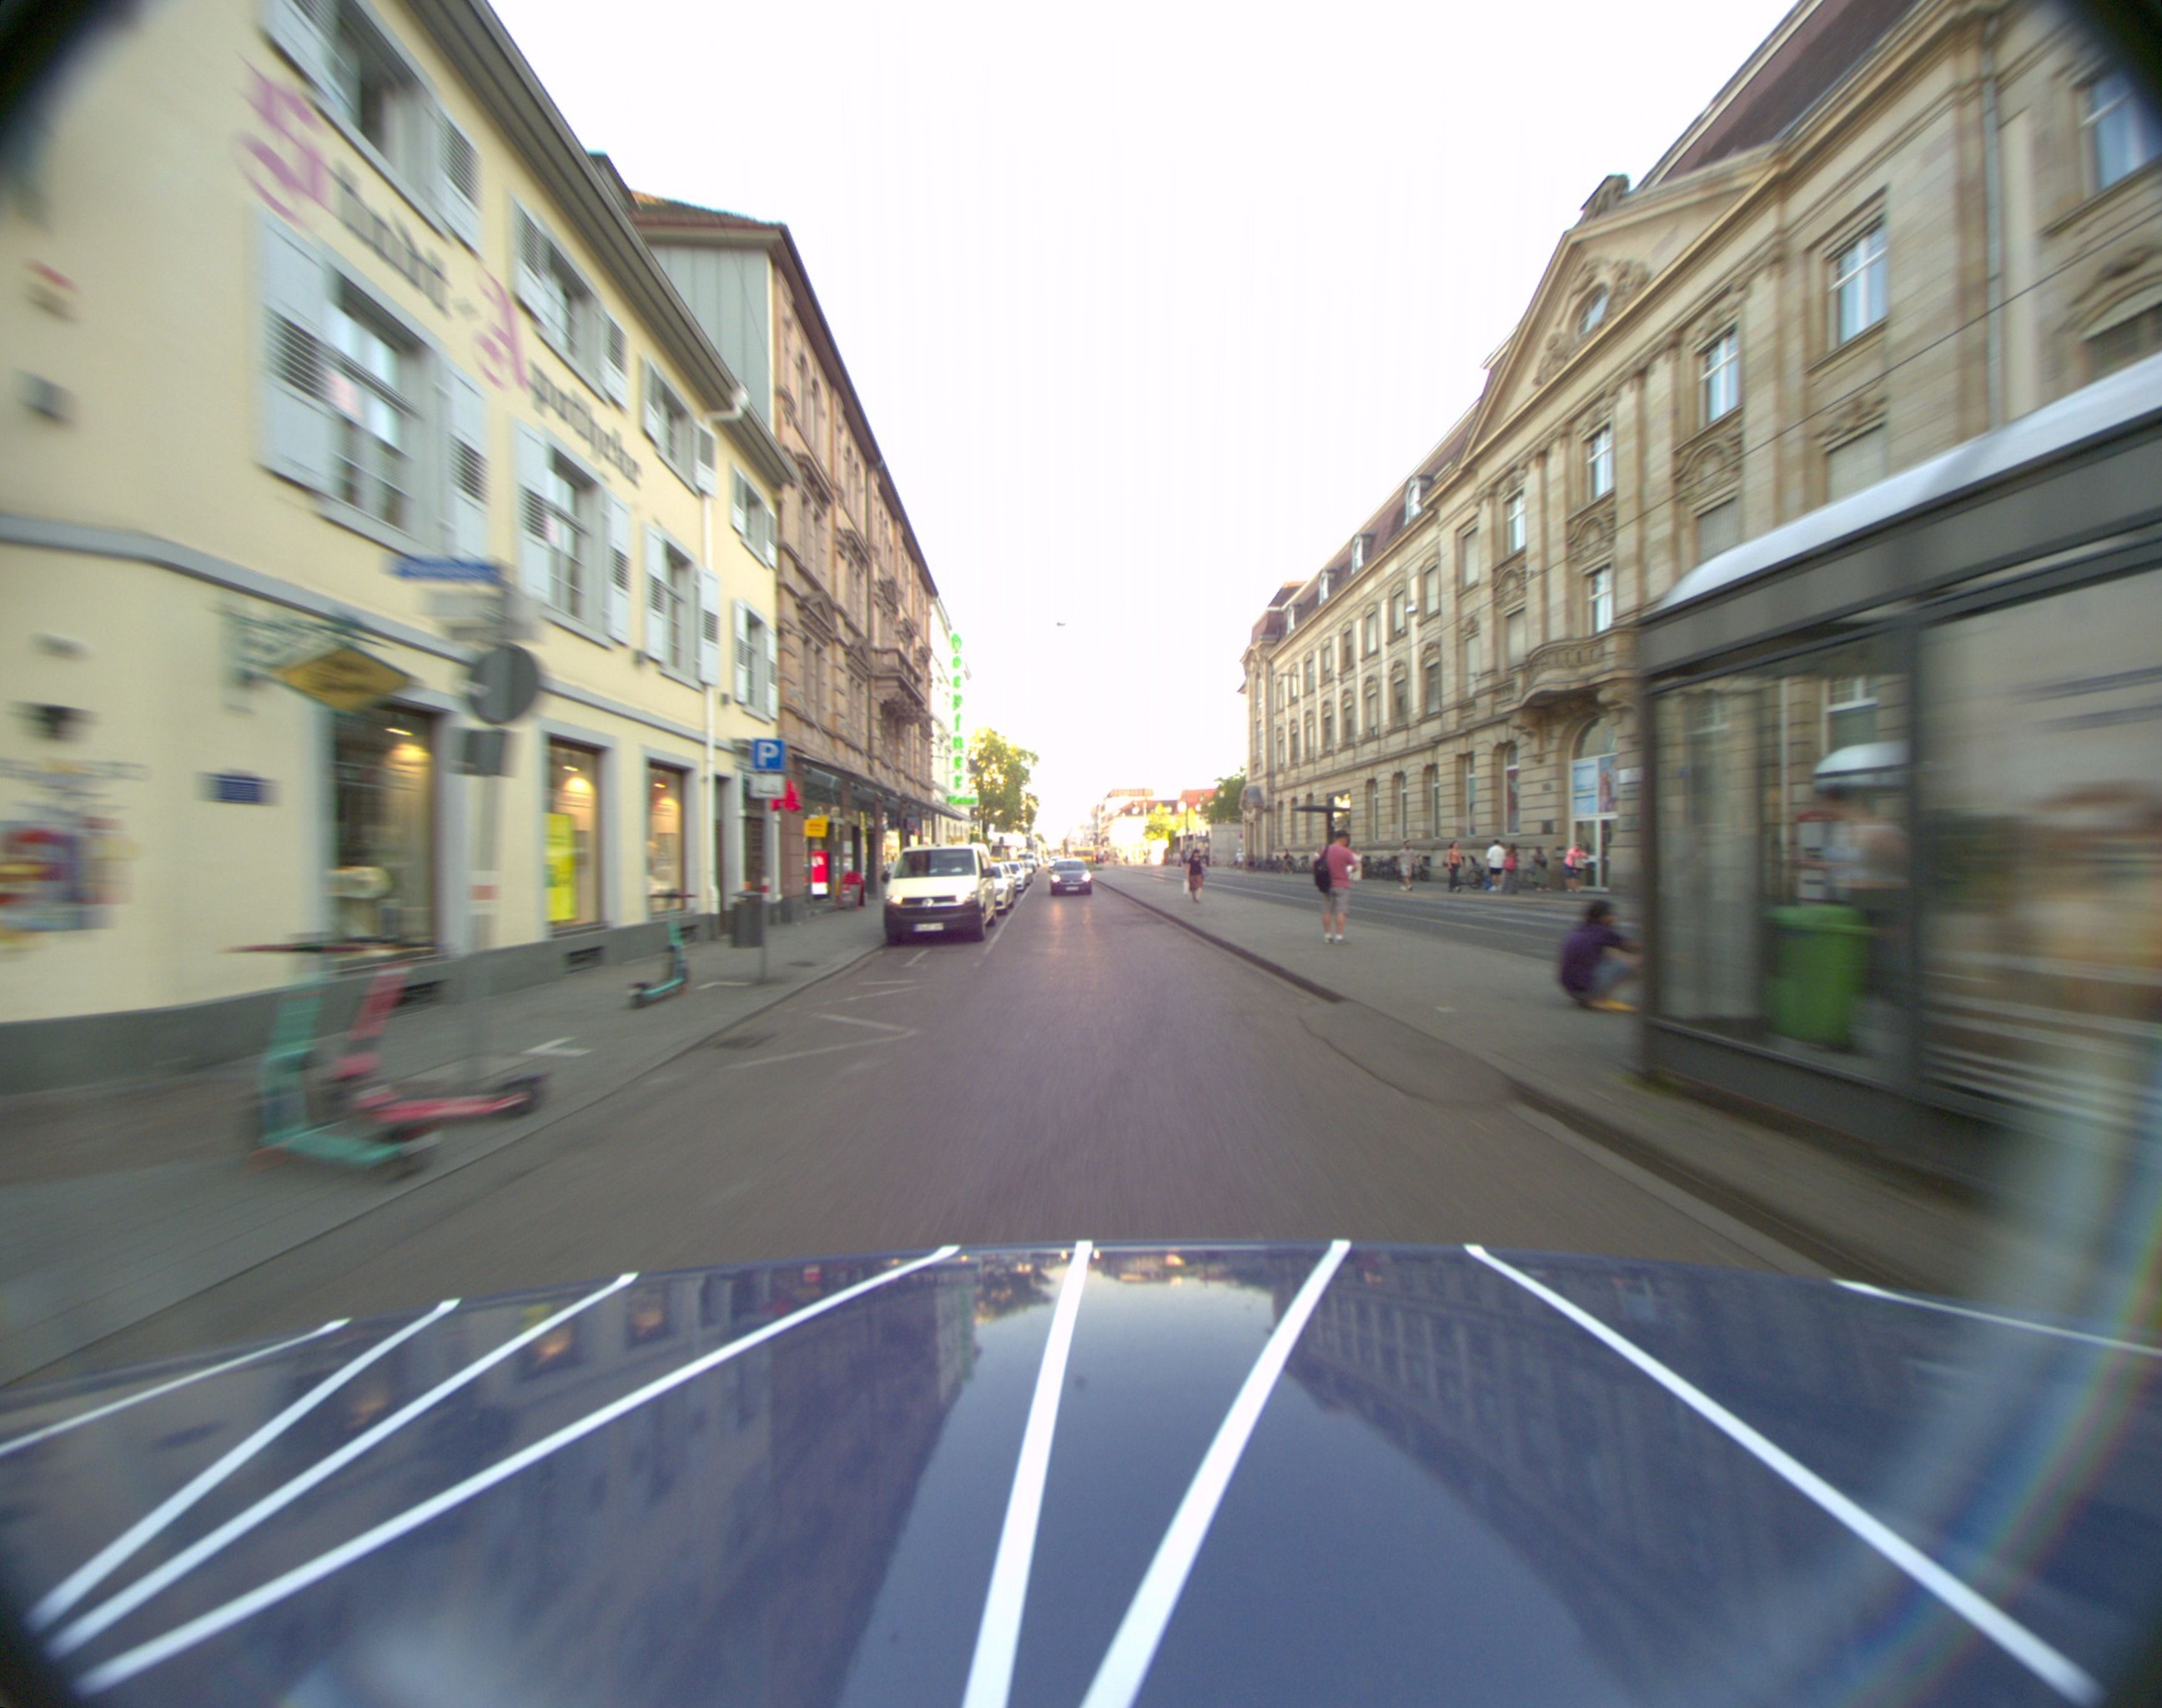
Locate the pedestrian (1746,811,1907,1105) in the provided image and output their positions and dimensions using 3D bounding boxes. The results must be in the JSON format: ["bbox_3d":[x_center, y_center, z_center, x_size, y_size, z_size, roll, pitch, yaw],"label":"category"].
[{"bbox_3d":[4.645,0.587,4.787,0.674,1.682,0.639,1,2,41],"label":"pedestrian"}]

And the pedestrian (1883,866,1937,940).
[{"bbox_3d":[12.810,0.743,11.743,0.365,1.096,0.429,-2,1,3],"label":"pedestrian"}]

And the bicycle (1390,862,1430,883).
[{"bbox_3d":[14.763,0.833,34.126,1.579,0.869,0.451,-2,1,2],"label":"bicycle"}]

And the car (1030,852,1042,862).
[{"bbox_3d":[-7.086,0.451,119.149,1.771,1.565,3.998,1,1,-2],"label":"car"}]

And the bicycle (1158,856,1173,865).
[{"bbox_3d":[11.913,0.913,107.060,2.132,1.153,0.692,-1,1,-1],"label":"bicycle"}]

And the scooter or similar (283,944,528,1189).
[{"bbox_3d":[-3.932,1.194,4.501,1.050,1.227,0.271,0,2,-34],"label":"scooter or similar"}]

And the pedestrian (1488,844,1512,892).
[{"bbox_3d":[14.239,0.467,25.850,0.477,1.633,0.562,-2,1,-1],"label":"pedestrian"}]

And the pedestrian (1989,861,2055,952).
[{"bbox_3d":[12.754,0.697,10.308,0.365,1.193,0.429,-2,1,3],"label":"pedestrian"}]

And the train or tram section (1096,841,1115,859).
[{"bbox_3d":[5.274,-0.765,165.728,2.903,3.664,13.477,-1,0,-3],"label":"train or tram section"}]

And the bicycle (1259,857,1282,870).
[{"bbox_3d":[13.871,0.701,55.572,1.579,0.869,0.451,-2,1,2],"label":"bicycle"}]

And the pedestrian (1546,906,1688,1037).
[{"bbox_3d":[4.358,0.926,6.242,0.799,0.934,0.694,-1,1,20],"label":"pedestrian"}]

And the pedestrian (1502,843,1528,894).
[{"bbox_3d":[13.604,0.445,23.838,0.440,1.596,0.571,-2,1,-5],"label":"pedestrian"}]

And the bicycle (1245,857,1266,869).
[{"bbox_3d":[13.819,0.721,60.179,1.579,0.869,0.451,-2,1,2],"label":"bicycle"}]

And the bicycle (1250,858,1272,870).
[{"bbox_3d":[13.882,0.740,58.722,1.579,0.869,0.451,-2,1,2],"label":"bicycle"}]

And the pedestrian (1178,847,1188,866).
[{"bbox_3d":[9.227,0.223,68.760,0.650,1.726,0.594,0,0,-11],"label":"pedestrian"}]

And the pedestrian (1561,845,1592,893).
[{"bbox_3d":[15.702,0.468,24.085,0.542,1.482,0.593,-3,1,-26],"label":"pedestrian"}]

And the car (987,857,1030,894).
[{"bbox_3d":[-3.422,0.959,36.530,1.737,1.502,4.863,-3,1,-3],"label":"car"}]

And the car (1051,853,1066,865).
[{"bbox_3d":[-3.038,0.596,100.505,1.811,1.474,4.282,-3,0,-3],"label":"car"}]

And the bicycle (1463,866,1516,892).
[{"bbox_3d":[14.234,0.868,26.484,1.579,0.869,0.451,-2,1,2],"label":"bicycle"}]

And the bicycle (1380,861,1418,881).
[{"bbox_3d":[15.026,0.809,35.918,1.579,0.869,0.451,-2,1,2],"label":"bicycle"}]

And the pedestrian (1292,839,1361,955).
[{"bbox_3d":[3.644,0.602,11.253,0.686,1.628,0.863,0,1,38],"label":"pedestrian"}]

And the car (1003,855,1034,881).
[{"bbox_3d":[-3.993,0.885,49.227,1.811,1.467,4.691,-2,1,-3],"label":"car"}]

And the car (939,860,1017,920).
[{"bbox_3d":[-2.962,0.989,22.785,1.811,1.474,4.777,-3,0,-3],"label":"car"}]

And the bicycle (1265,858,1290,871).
[{"bbox_3d":[13.811,0.733,53.433,1.579,0.869,0.451,-2,1,2],"label":"bicycle"}]

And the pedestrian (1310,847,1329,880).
[{"bbox_3d":[11.212,0.448,35.711,0.659,1.553,0.681,0,1,36],"label":"pedestrian"}]

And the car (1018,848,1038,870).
[{"bbox_3d":[-5.142,0.482,74.217,1.857,2.055,5.214,0,1,-2],"label":"car"}]

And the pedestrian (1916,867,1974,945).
[{"bbox_3d":[12.677,0.756,11.152,0.365,1.096,0.429,-2,1,3],"label":"pedestrian"}]

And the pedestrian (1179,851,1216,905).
[{"bbox_3d":[3.306,0.660,21.645,0.848,1.492,0.901,-1,1,-3],"label":"pedestrian"}]

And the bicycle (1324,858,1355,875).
[{"bbox_3d":[14.498,0.706,42.584,1.579,0.869,0.451,-2,1,2],"label":"bicycle"}]

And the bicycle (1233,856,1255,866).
[{"bbox_3d":[14.902,0.621,69.573,1.840,0.863,0.635,-2,1,-4],"label":"bicycle"}]

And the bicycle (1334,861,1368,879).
[{"bbox_3d":[14.039,0.841,39.487,1.579,0.869,0.451,-2,1,2],"label":"bicycle"}]

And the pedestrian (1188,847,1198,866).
[{"bbox_3d":[10.053,0.243,68.225,0.677,1.726,0.679,0,0,-22],"label":"pedestrian"}]

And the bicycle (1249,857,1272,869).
[{"bbox_3d":[13.635,0.678,57.780,1.579,0.869,0.451,-2,1,2],"label":"bicycle"}]

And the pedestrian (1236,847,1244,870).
[{"bbox_3d":[11.477,0.334,54.730,0.375,1.622,0.494,-1,2,32],"label":"pedestrian"}]

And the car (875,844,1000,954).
[{"bbox_3d":[-2.854,0.790,16.189,1.882,1.912,4.698,-3,1,-3],"label":"car"}]

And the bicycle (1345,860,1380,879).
[{"bbox_3d":[14.371,0.791,38.760,1.579,0.869,0.451,-2,1,2],"label":"bicycle"}]

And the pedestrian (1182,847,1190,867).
[{"bbox_3d":[9.387,0.251,67.725,0.679,1.726,0.483,1,0,11],"label":"pedestrian"}]

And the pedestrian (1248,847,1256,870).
[{"bbox_3d":[12.284,0.312,54.440,0.375,1.664,0.494,-1,2,30],"label":"pedestrian"}]

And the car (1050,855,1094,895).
[{"bbox_3d":[-0.431,0.834,32.336,1.739,1.495,3.998,-2,1,-2],"label":"car"}]

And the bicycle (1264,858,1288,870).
[{"bbox_3d":[14.081,0.721,54.799,1.579,0.869,0.451,-2,1,2],"label":"bicycle"}]

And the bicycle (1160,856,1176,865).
[{"bbox_3d":[12.034,0.932,105.444,2.132,1.153,0.692,-1,1,-1],"label":"bicycle"}]

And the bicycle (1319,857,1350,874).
[{"bbox_3d":[14.439,0.652,43.228,1.579,0.869,0.451,-2,1,2],"label":"bicycle"}]

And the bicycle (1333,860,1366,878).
[{"bbox_3d":[14.436,0.797,40.901,1.579,0.869,0.451,-2,1,2],"label":"bicycle"}]

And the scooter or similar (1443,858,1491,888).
[{"bbox_3d":[14.451,0.719,28.481,1.551,1.062,0.451,-2,1,2],"label":"scooter or similar"}]

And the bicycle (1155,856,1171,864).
[{"bbox_3d":[11.704,0.896,108.789,2.132,1.153,0.692,-1,1,-1],"label":"bicycle"}]

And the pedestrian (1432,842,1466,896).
[{"bbox_3d":[12.024,0.477,24.844,0.694,1.702,0.815,-1,1,-4],"label":"pedestrian"}]

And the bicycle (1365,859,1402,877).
[{"bbox_3d":[14.912,0.690,37.472,1.579,0.869,0.451,-2,1,2],"label":"bicycle"}]

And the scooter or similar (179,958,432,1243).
[{"bbox_3d":[-3.878,1.182,3.803,1.177,1.227,0.316,1,1,14],"label":"scooter or similar"}]

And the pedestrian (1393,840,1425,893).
[{"bbox_3d":[11.335,0.412,26.274,0.694,1.802,0.814,-1,1,-3],"label":"pedestrian"}]

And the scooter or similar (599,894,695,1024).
[{"bbox_3d":[-4.713,1.100,8.324,0.272,1.227,1.307,1,1,1],"label":"scooter or similar"}]

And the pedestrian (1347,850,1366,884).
[{"bbox_3d":[11.943,0.560,32.976,0.693,1.458,0.556,-1,1,14],"label":"pedestrian"}]

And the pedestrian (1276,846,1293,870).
[{"bbox_3d":[13.265,0.278,49.609,0.739,1.524,0.776,-1,1,-24],"label":"pedestrian"}]

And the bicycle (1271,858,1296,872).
[{"bbox_3d":[13.978,0.741,52.445,1.579,0.869,0.451,-2,1,2],"label":"bicycle"}]

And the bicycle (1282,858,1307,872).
[{"bbox_3d":[14.470,0.738,51.553,1.579,0.869,0.451,-2,1,2],"label":"bicycle"}]

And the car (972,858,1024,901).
[{"bbox_3d":[-3.287,0.953,30.792,1.731,1.468,4.818,-2,1,-3],"label":"car"}]

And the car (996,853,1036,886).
[{"bbox_3d":[-3.584,0.823,42.793,1.737,1.581,4.441,-3,1,1],"label":"car"}]

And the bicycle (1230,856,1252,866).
[{"bbox_3d":[14.803,0.615,70.293,1.840,0.863,0.635,-2,1,-4],"label":"bicycle"}]

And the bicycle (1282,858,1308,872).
[{"bbox_3d":[14.292,0.754,50.827,1.579,0.869,0.451,-2,1,2],"label":"bicycle"}]

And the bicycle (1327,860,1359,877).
[{"bbox_3d":[14.461,0.816,42.000,1.579,0.869,0.451,-2,1,2],"label":"bicycle"}]

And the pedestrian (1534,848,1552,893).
[{"bbox_3d":[14.915,0.530,24.527,0.439,1.431,0.573,-1,2,34],"label":"pedestrian"}]
